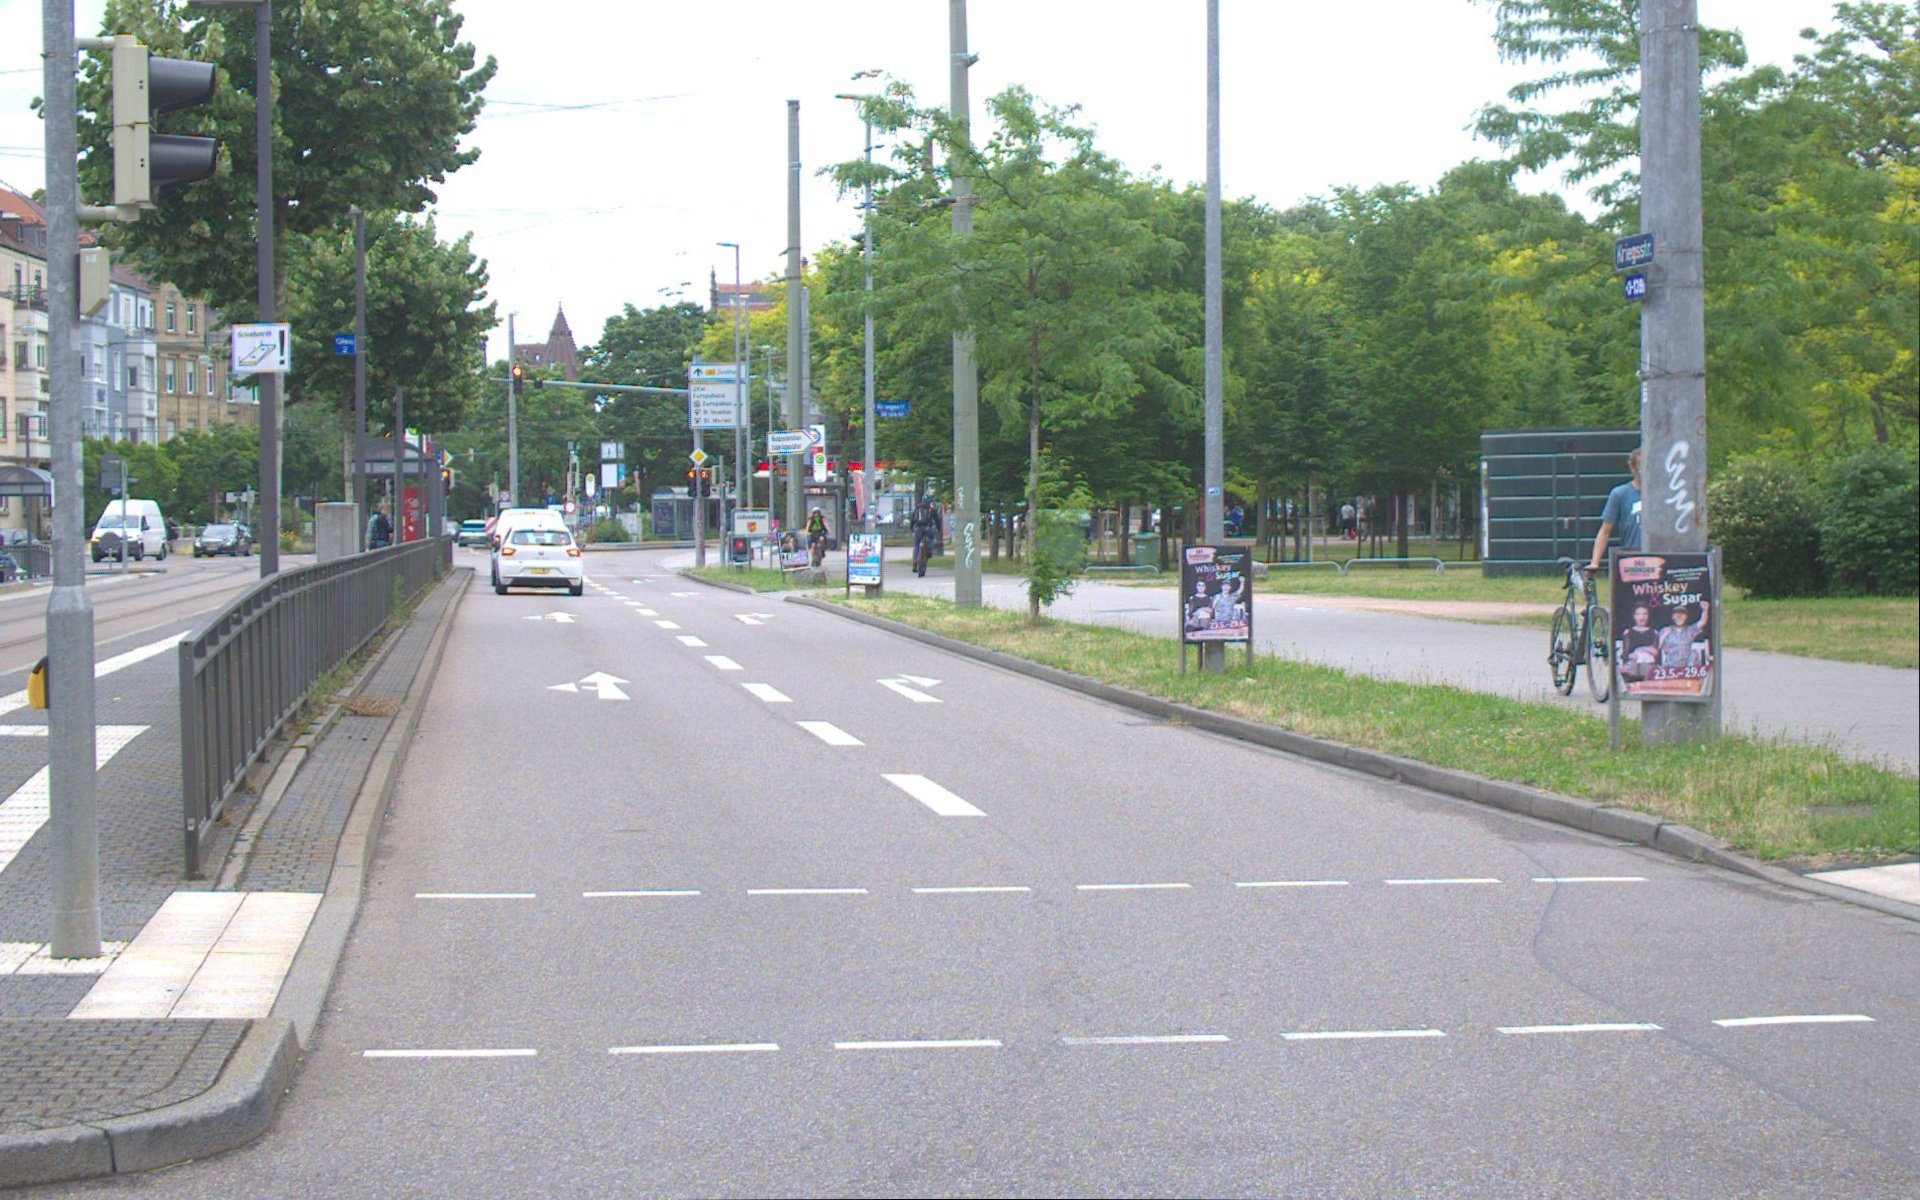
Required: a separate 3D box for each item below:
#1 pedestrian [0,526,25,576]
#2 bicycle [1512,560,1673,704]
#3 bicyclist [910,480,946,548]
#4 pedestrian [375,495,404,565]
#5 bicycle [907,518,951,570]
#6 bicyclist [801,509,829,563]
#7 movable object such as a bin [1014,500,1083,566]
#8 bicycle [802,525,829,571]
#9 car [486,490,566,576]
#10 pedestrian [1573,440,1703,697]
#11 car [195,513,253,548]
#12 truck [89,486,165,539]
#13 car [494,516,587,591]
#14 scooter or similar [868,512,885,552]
[{"bbox_3d":[-24.293,-1.242,87.496,0.864,1.262,0.694,-1,2,-10],"label":"pedestrian"},{"bbox_3d":[4.704,0.221,25.666,0.654,0.999,1.779,-1,1,-7],"label":"bicycle"},{"bbox_3d":[-0.737,-1.962,78.116,0.679,1.532,0.673,-1,1,-10],"label":"bicyclist"},{"bbox_3d":[-12.106,-1.489,72.939,0.576,1.476,0.618,-1,2,-10],"label":"pedestrian"},{"bbox_3d":[-0.718,-1.271,78.090,0.679,1.151,1.899,-1,2,-10],"label":"bicycle"},{"bbox_3d":[-3.762,-1.657,89.262,0.679,1.375,0.727,-1,2,-2],"label":"bicyclist"},{"bbox_3d":[1.869,-1.415,72.637,1.282,1.385,1.159,-1,1,-7],"label":"movable object such as a bin"},{"bbox_3d":[-3.742,-1.358,89.263,0.679,1.151,1.898,-1,2,-2],"label":"bicycle"},{"bbox_3d":[-10.327,-1.609,81.646,1.782,1.956,4.383,-1,2,-8],"label":"car"},{"bbox_3d":[5.024,-0.241,25.499,0.739,1.863,0.682,-1,1,-8],"label":"pedestrian"},{"bbox_3d":[-32.144,-3.047,150.293,1.770,1.488,3.887,-1,1,-1],"label":"car"},{"bbox_3d":[-32.837,-3.446,135.616,1.787,2.025,5.396,-1,1,-1],"label":"truck"},{"bbox_3d":[-8.509,-0.970,69.940,1.782,1.467,4.011,-1,2,-6],"label":"car"},{"bbox_3d":[-2.383,-1.956,98.533,0.376,1.137,1.199,-1,1,3],"label":"scooter or similar"}]
